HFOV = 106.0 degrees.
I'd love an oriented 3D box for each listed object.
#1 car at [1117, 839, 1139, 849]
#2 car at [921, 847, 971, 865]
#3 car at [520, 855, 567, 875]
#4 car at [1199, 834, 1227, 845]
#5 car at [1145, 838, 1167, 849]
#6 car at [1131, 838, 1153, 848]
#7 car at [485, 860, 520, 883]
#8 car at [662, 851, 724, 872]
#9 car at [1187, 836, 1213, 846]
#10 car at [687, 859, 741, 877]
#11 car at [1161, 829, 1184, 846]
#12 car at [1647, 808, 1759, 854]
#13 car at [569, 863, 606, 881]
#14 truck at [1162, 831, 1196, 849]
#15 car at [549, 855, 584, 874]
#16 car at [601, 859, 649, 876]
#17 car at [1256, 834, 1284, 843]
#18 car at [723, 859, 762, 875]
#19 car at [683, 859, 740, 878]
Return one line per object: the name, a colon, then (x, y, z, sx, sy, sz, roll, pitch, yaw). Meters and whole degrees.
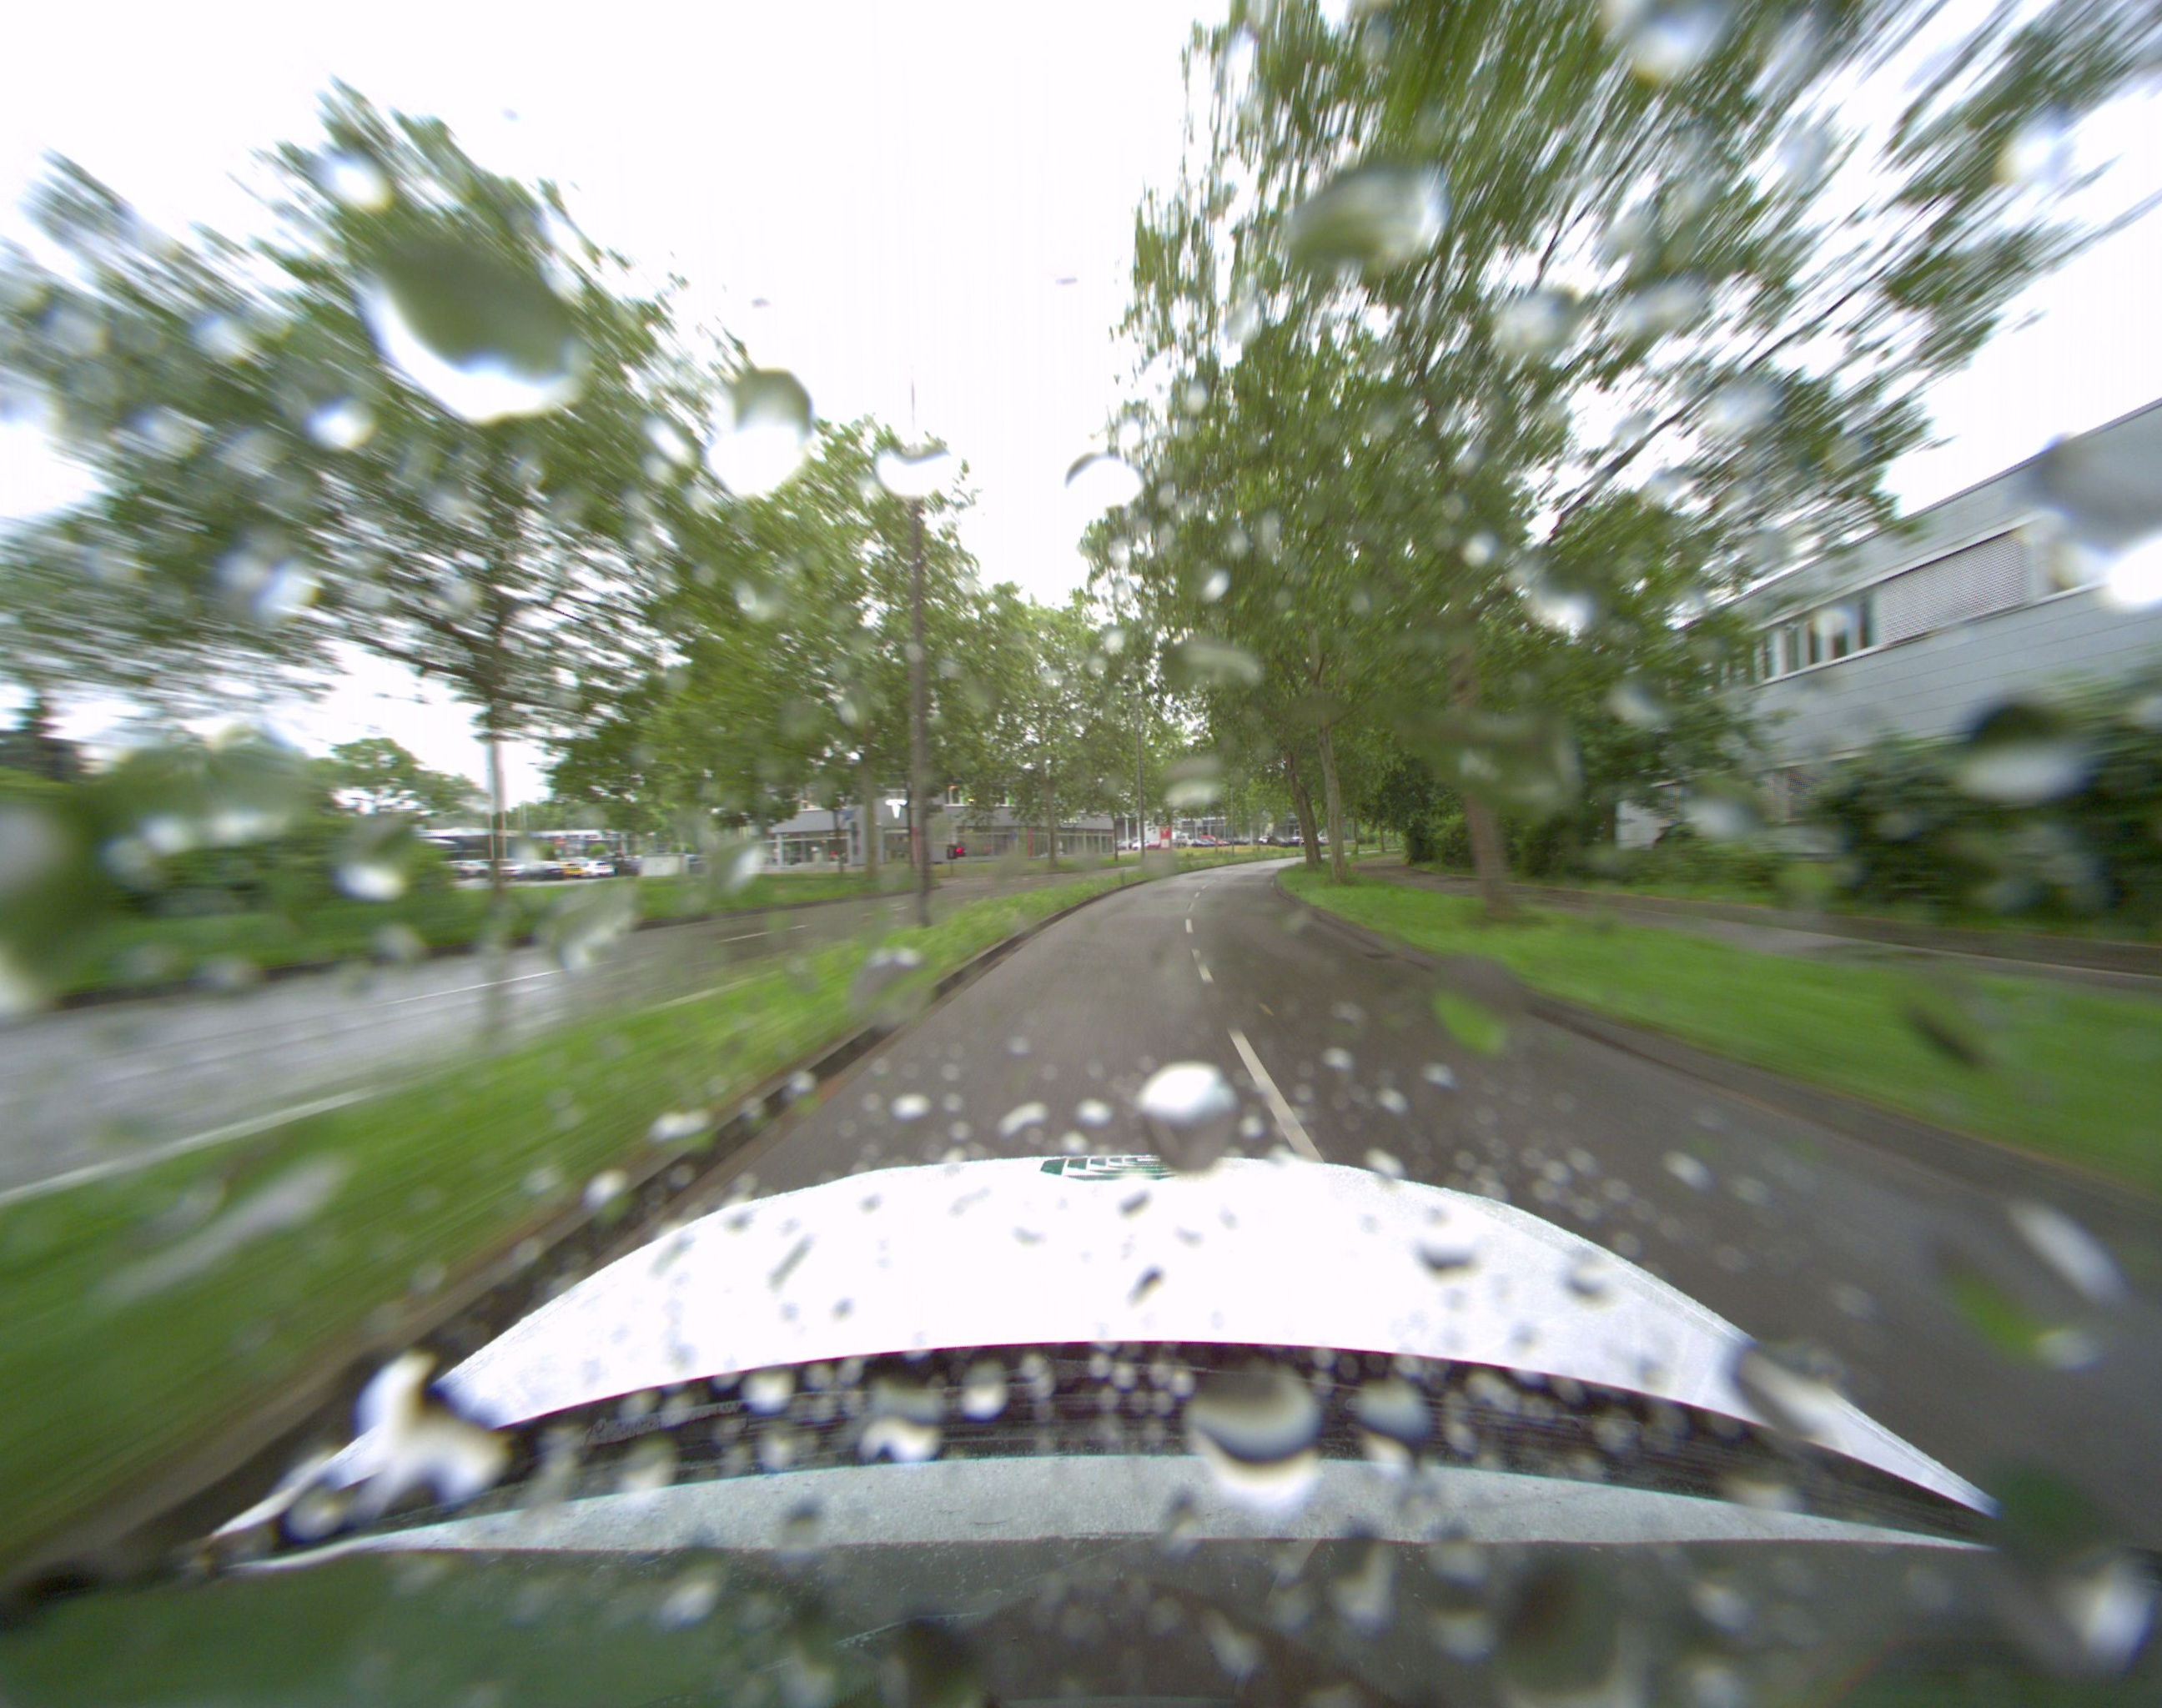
car: (7.158, -1.521, 123.599, 1.746, 1.396, 4.183, 0, 3, 28)
car: (-11.857, 0.175, 71.278, 4.152, 1.494, 1.608, -1, 0, 28)
car: (-43.224, 0.867, 65.515, 4.150, 1.494, 1.897, -1, 0, 38)
car: (20.546, -2.282, 126.688, 3.958, 1.556, 1.860, 3, 4, 34)
car: (11.151, -1.524, 120.424, 1.746, 1.466, 4.183, 0, 3, 28)
car: (9.210, -1.698, 122.483, 1.746, 1.396, 4.183, 0, 3, 28)
car: (-47.564, 1.428, 66.911, 1.828, 1.813, 4.154, -2, 0, -42)
car: (-31.221, 0.590, 65.599, 4.180, 1.494, 1.597, -1, 0, -2)
car: (17.889, -1.983, 122.395, 3.489, 1.326, 1.780, 3, 4, 34)
car: (-33.416, 1.288, 74.260, 4.180, 1.494, 1.597, -1, 0, -2)
car: (15.433, -2.874, 137.632, 2.167, 2.752, 5.315, -1, 2, -14)
car: (23.177, -0.907, 30.566, 1.751, 1.581, 4.172, -1, 3, 12)
car: (-42.531, 1.539, 70.159, 4.151, 1.494, 1.608, -1, 0, 42)
truck: (14.357, -2.041, 119.169, 2.225, 2.343, 6.235, 3, 4, 35)
car: (-43.102, 0.876, 68.193, 3.033, 1.494, 1.608, -1, 0, 40)
car: (-43.995, 1.311, 78.621, 3.751, 1.494, 1.597, -1, 0, -2)
car: (33.299, -2.670, 143.233, 4.379, 1.473, 1.932, -1, 1, 32)
car: (-34.401, 1.341, 82.789, 3.297, 1.494, 1.597, -1, 0, -2)
car: (-32.341, 1.252, 71.261, 4.180, 1.494, 1.597, -1, 0, -2)
